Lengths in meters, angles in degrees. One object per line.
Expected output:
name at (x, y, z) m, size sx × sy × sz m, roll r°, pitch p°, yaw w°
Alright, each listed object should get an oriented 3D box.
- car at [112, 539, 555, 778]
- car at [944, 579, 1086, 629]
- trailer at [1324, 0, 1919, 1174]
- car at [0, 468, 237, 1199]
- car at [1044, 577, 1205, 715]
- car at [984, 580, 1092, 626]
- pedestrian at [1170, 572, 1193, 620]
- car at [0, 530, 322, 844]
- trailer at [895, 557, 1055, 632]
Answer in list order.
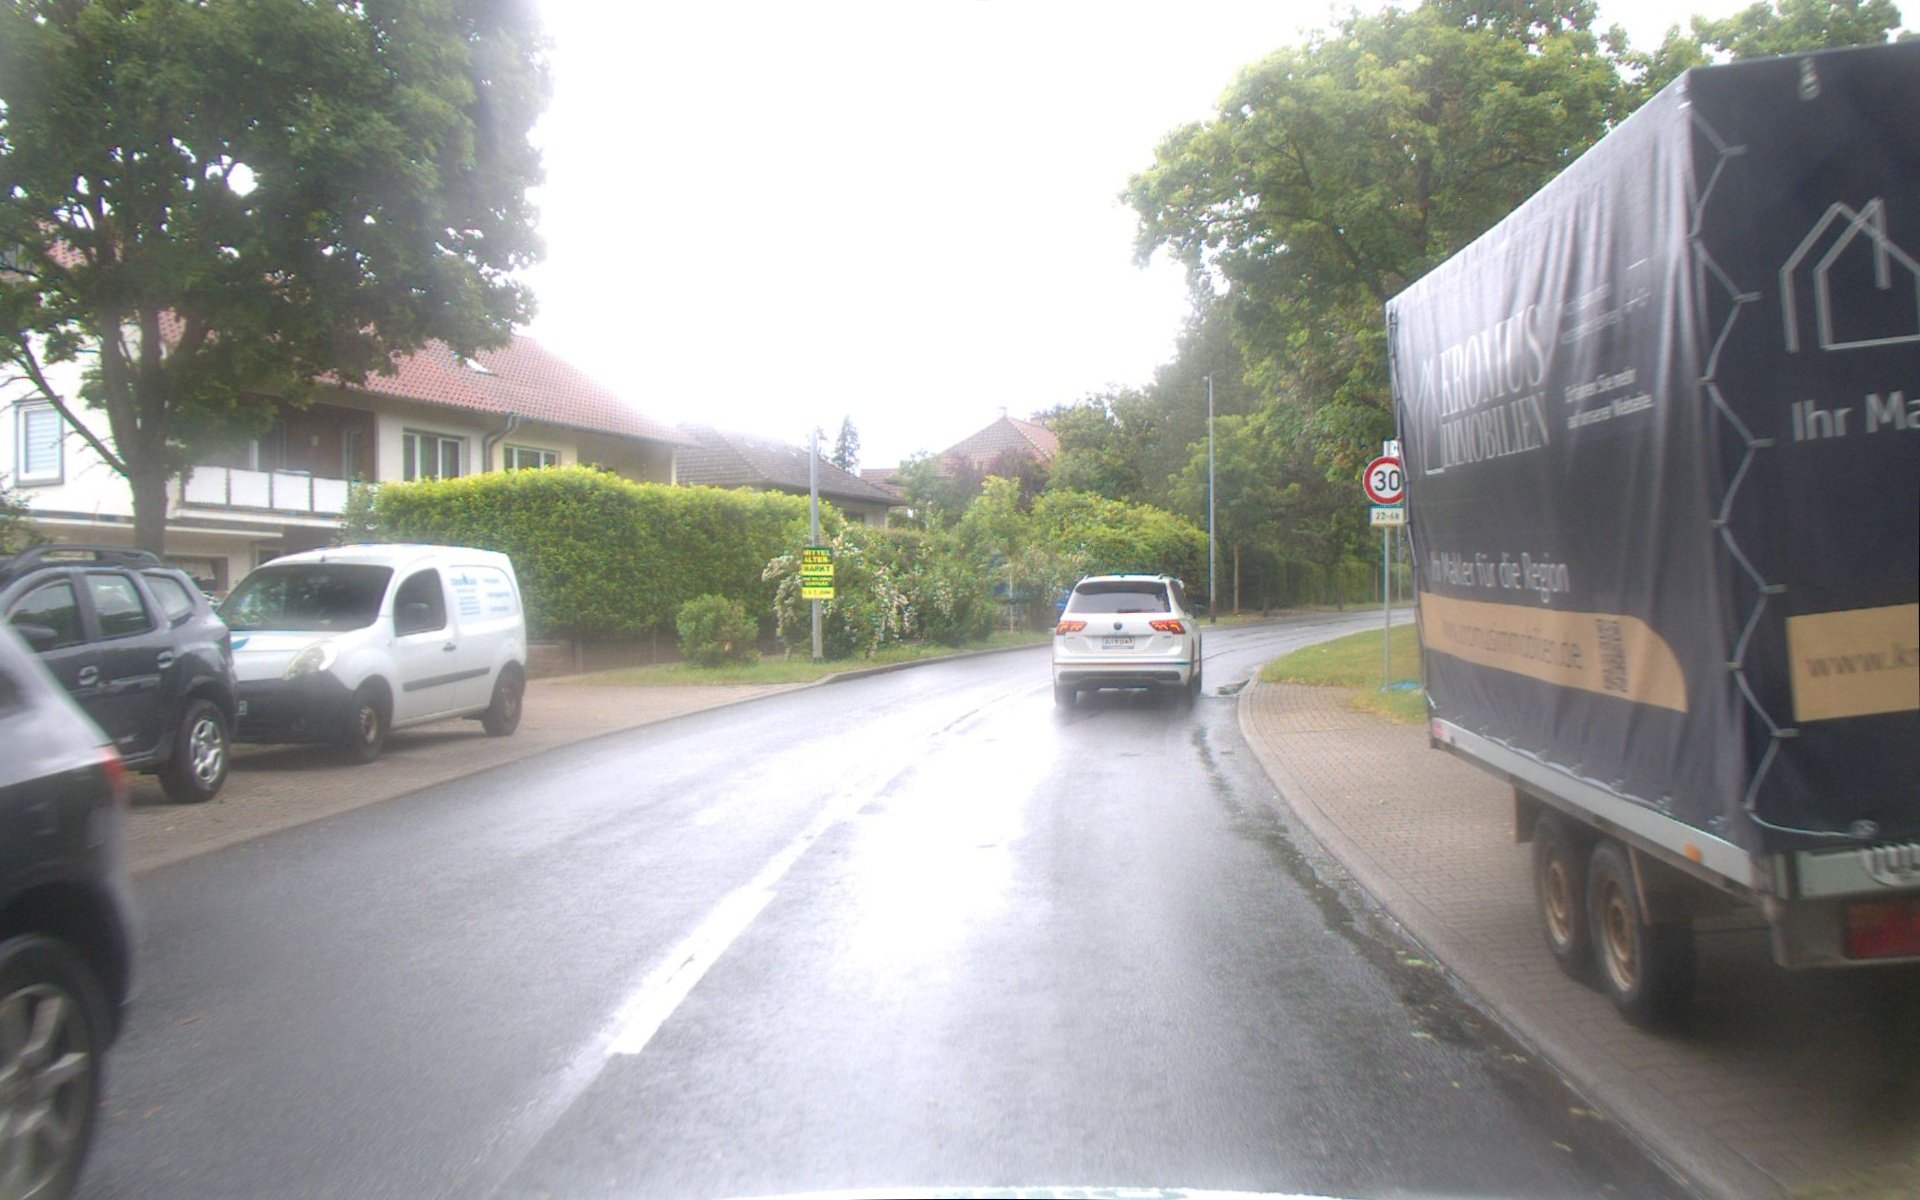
car at (-5.398, 0.439, 14.961) m, size 1.760 × 1.827 × 4.376 m, roll 0°, pitch 0°, yaw 10°
car at (1.795, 0.122, 53.710) m, size 4.151 × 1.566 × 2.052 m, roll 0°, pitch 0°, yaw 22°
trailer at (3.081, -0.147, 6.786) m, size 1.953 × 2.856 × 5.610 m, roll -6°, pitch 0°, yaw 3°
car at (-2.927, 0.606, 2.322) m, size 1.813 × 1.721 × 4.405 m, roll -1°, pitch 1°, yaw 1°
car at (2.311, 0.552, 22.353) m, size 1.932 × 1.682 × 4.180 m, roll 0°, pitch 0°, yaw 9°
car at (2.692, 0.108, 56.841) m, size 3.334 × 1.545 × 1.730 m, roll 0°, pitch 0°, yaw 22°
pedestrian at (7.958, -0.150, 59.416) m, size 0.760 × 1.691 × 0.844 m, roll 0°, pitch 1°, yaw 11°
car at (-5.807, 0.455, 9.725) m, size 1.712 × 1.669 × 4.596 m, roll 0°, pitch 0°, yaw 10°
trailer at (0.457, -0.165, 50.604) m, size 4.526 × 2.209 × 1.814 m, roll 0°, pitch 0°, yaw 22°
